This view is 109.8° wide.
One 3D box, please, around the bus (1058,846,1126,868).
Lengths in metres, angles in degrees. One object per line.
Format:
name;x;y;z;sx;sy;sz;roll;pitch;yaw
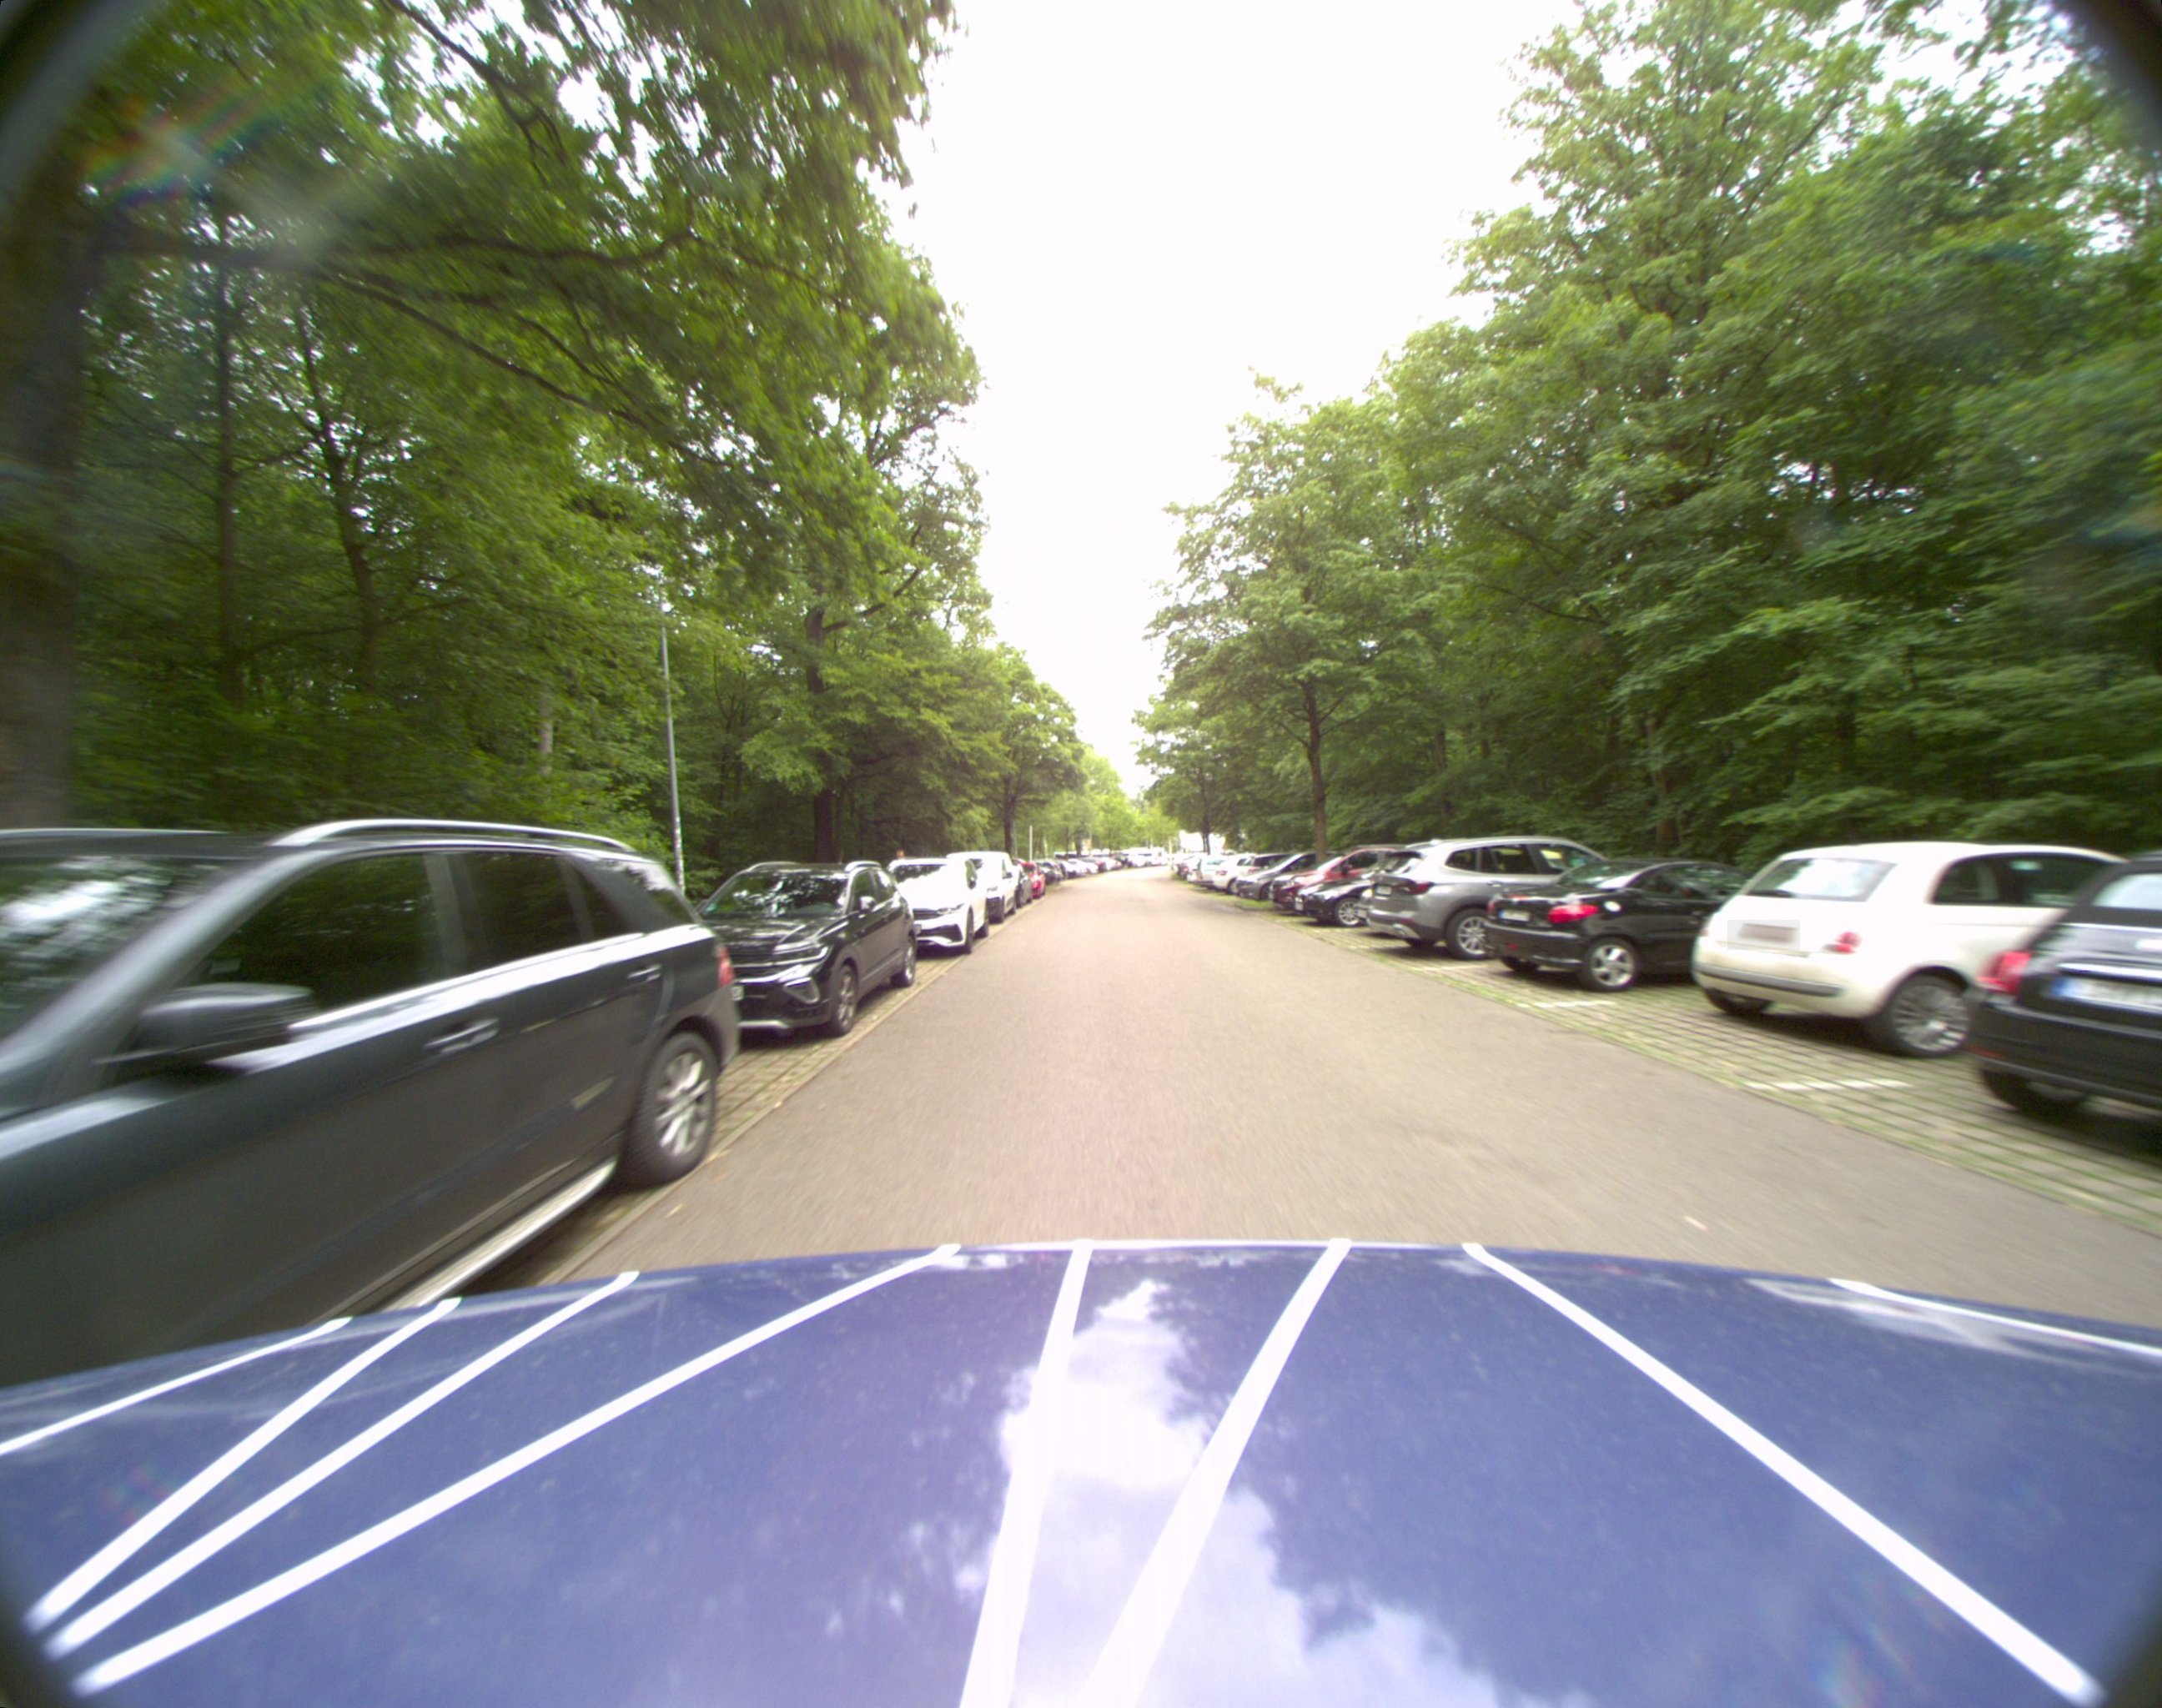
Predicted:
bus;1.769;0.442;122.305;10.517;3.139;2.811;-2;-2;-8

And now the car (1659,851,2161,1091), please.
car;7.084;0.778;5.933;3.875;1.442;1.660;-2;0;-2

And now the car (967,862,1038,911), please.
car;-2.516;1.018;25.409;1.729;1.414;4.284;-2;0;2

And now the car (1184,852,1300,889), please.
car;6.967;0.697;33.200;4.575;1.439;2.085;-2;0;-2

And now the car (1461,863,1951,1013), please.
car;6.719;0.844;8.496;3.989;1.302;1.810;-2;0;-2

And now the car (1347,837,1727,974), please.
car;6.357;0.685;11.023;4.235;1.623;2.029;-2;0;1

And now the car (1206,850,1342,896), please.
car;7.186;0.686;28.633;4.574;1.477;1.941;-2;0;1

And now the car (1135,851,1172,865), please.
car;9.864;0.543;103.303;4.524;1.683;2.169;-2;0;25

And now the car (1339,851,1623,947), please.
car;6.901;0.751;13.446;4.032;1.456;1.799;-2;0;3

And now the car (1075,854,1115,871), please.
car;1.441;0.876;76.650;3.707;1.502;1.753;-2;1;13

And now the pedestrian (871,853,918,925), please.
pedestrian;-4.679;0.862;19.123;0.819;1.715;1.004;-3;0;2

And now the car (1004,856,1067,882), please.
car;-2.935;0.968;49.321;3.835;1.522;1.851;-1;0;5

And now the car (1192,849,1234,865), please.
car;14.714;0.315;84.651;4.360;1.588;2.033;-2;0;17

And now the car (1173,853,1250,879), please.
car;7.842;0.719;46.010;4.414;1.416;2.036;-2;0;6

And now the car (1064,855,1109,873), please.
car;0.504;0.925;68.948;3.775;1.472;1.775;-2;-1;7

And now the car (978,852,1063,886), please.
car;-3.238;0.807;41.368;4.275;1.656;1.959;-2;0;4

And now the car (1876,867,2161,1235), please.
car;6.788;0.790;3.408;4.411;1.480;1.837;-2;0;2

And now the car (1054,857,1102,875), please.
car;-0.258;1.013;66.653;3.939;1.402;1.879;-2;-1;9

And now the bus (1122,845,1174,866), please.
bus;10.853;0.260;123.472;7.756;3.139;2.811;-2;-2;-8

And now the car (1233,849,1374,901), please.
car;7.542;0.692;26.003;4.246;1.541;1.847;-2;0;-3

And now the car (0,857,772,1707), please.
car;-2.914;0.918;2.291;1.894;1.737;4.948;-2;0;0

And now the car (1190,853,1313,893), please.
car;6.828;0.749;30.858;4.573;1.477;1.870;-2;0;2

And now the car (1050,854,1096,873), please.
car;-0.633;0.770;63.941;3.804;1.432;1.871;-2;-1;1

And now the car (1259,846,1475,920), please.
car;6.838;0.669;18.558;4.526;1.575;1.927;-2;0;1

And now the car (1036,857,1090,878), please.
car;-1.380;1.041;59.179;3.985;1.475;1.885;-2;-1;5

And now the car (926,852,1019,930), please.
car;-2.719;0.877;20.086;1.749;1.770;4.552;-2;0;0

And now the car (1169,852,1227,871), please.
car;9.726;0.613;63.063;4.648;1.469;2.096;-1;0;9

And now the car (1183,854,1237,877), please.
car;8.591;0.758;50.785;3.472;1.472;1.684;-1;0;7

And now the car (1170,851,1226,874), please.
car;8.968;0.629;57.980;3.965;1.618;2.000;-1;0;16

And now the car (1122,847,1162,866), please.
car;7.947;0.350;98.438;4.654;2.008;2.087;-4;-2;20

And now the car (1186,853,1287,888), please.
car;7.281;0.741;35.897;4.377;1.477;1.891;-2;1;0

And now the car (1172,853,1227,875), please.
car;8.288;0.717;53.276;3.733;1.411;1.873;-1;0;7

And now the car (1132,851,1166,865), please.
car;9.046;0.550;100.933;4.001;1.546;1.950;-4;-2;26

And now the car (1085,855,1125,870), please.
car;2.607;0.887;81.575;3.993;1.441;1.943;-2;0;12

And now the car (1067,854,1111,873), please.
car;0.773;0.914;72.066;3.774;1.580;1.951;-2;-1;12

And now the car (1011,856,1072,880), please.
car;-2.638;0.934;51.542;3.835;1.449;1.809;-2;1;6

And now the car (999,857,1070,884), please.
car;-2.800;1.008;46.571;3.995;1.466;1.953;-2;0;6

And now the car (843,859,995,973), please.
car;-2.714;0.953;13.875;1.790;1.652;4.717;-2;0;-1

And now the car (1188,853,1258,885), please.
car;7.105;0.743;38.318;3.226;1.436;1.680;-2;0;2

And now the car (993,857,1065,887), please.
car;-2.936;1.005;43.932;3.997;1.542;1.975;-2;0;-1

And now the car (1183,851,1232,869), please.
car;11.246;0.514;67.674;4.241;1.524;1.764;-1;0;9

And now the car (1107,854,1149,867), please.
car;5.657;0.790;91.442;4.777;1.467;1.855;-2;-1;20

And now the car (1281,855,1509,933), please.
car;6.431;0.797;15.881;3.997;1.356;1.786;-2;0;0

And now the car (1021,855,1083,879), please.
car;-2.033;0.948;54.147;4.196;1.503;1.894;-2;-1;5

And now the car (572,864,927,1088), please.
car;-2.972;0.961;8.019;1.755;1.598;4.446;-2;0;0

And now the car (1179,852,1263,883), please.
car;7.489;0.706;41.000;4.274;1.477;2.058;-2;0;6

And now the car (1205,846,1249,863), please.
car;17.991;0.089;93.655;5.091;1.904;1.981;-2;0;21

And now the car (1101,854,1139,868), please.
car;4.432;0.802;86.319;3.992;1.474;1.924;-2;0;17

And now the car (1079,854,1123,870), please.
car;2.091;0.796;78.814;4.132;1.453;1.867;-2;1;14

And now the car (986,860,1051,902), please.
car;-2.443;1.047;31.047;1.998;1.470;4.972;-2;0;2

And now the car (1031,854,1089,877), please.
car;-1.533;0.842;56.631;4.016;1.550;1.979;-2;-1;9

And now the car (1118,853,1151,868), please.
car;6.812;0.853;95.995;3.727;1.545;1.849;-4;-3;18

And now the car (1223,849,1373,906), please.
car;6.640;0.705;23.575;4.044;1.546;1.919;-2;0;0
